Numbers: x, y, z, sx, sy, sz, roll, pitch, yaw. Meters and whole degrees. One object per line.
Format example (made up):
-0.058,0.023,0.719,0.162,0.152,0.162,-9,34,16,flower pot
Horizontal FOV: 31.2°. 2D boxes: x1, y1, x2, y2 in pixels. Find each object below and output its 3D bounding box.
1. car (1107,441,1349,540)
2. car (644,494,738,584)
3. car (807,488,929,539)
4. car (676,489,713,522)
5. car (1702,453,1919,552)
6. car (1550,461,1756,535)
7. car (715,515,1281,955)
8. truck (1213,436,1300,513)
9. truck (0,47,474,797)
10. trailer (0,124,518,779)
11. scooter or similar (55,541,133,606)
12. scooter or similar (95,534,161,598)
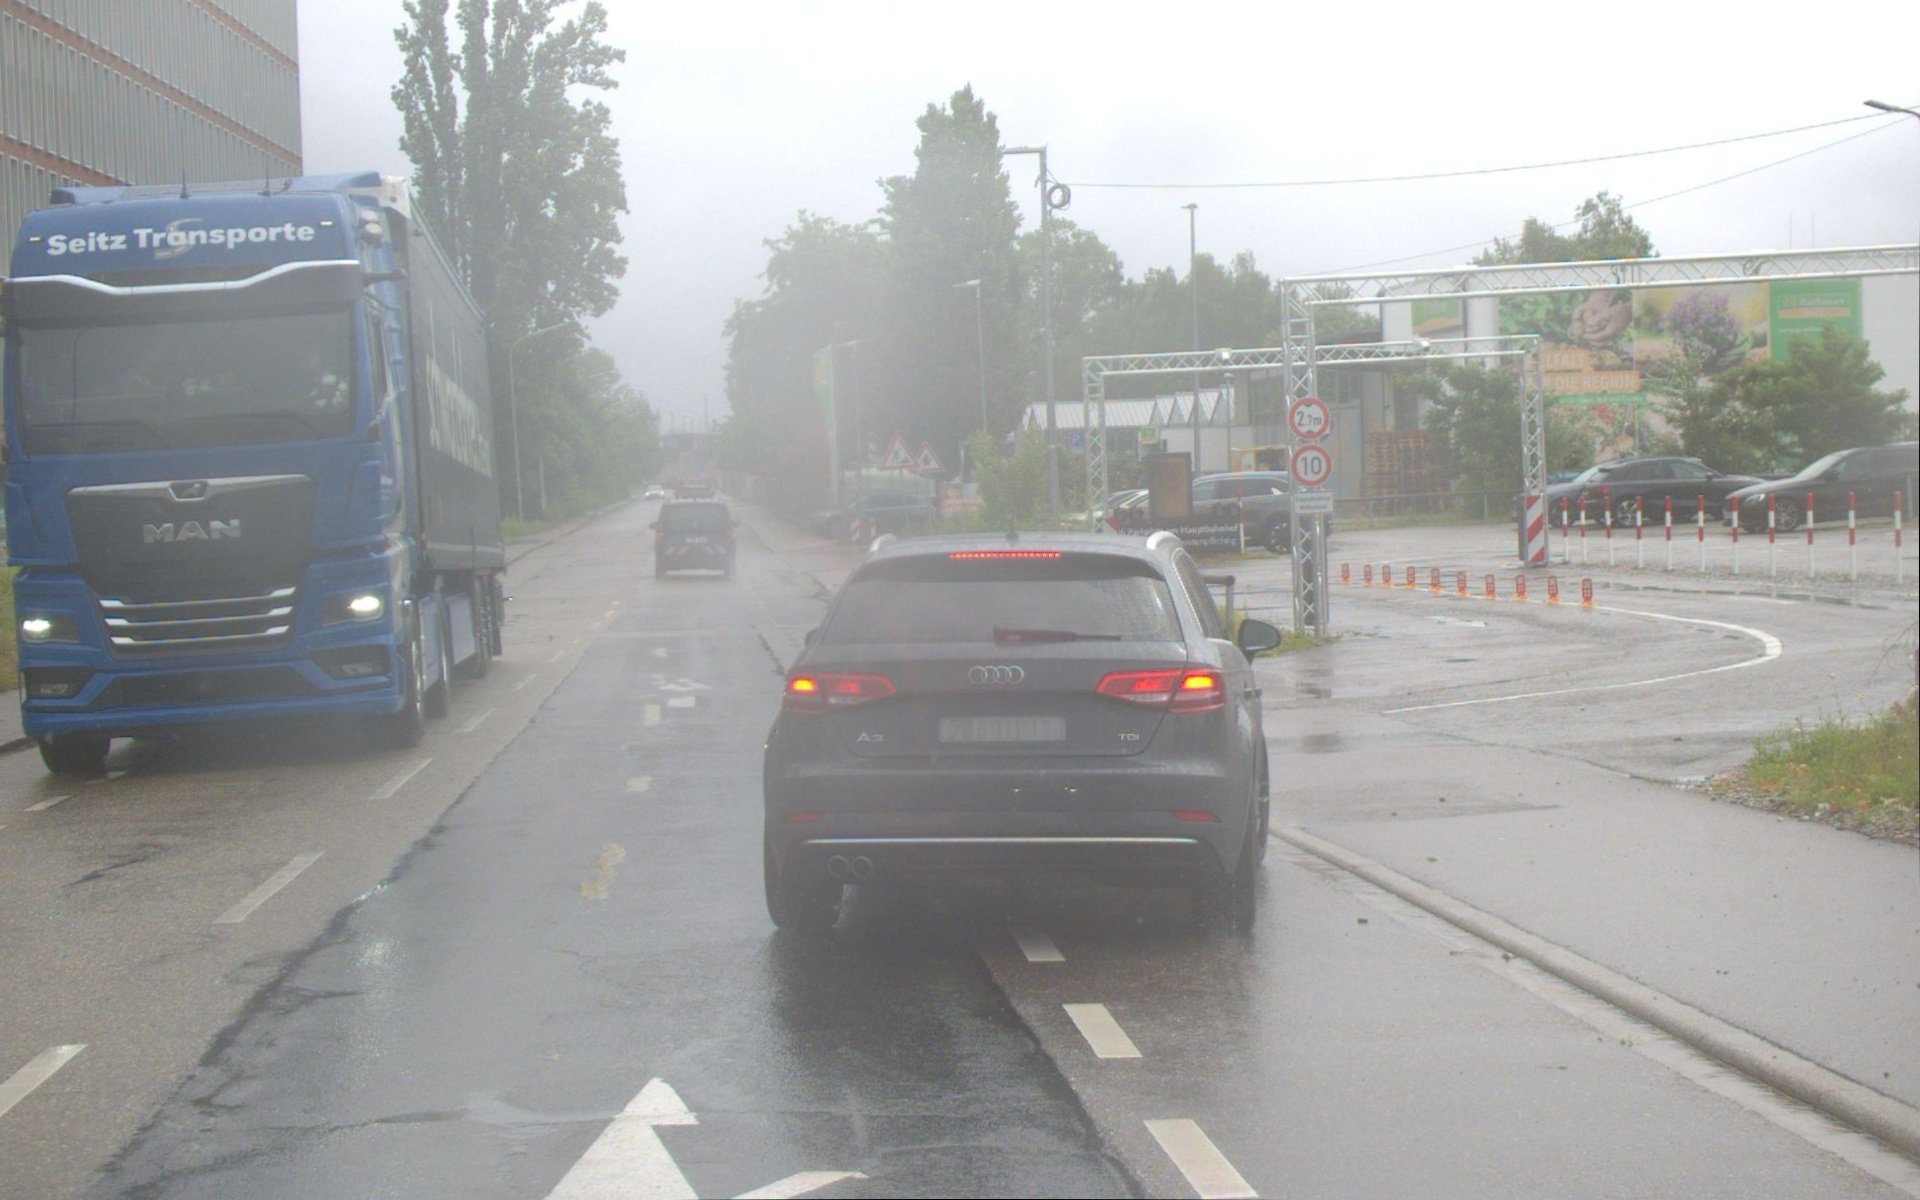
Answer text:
5.392,-2.201,69.696,4.681,1.729,2.128,-3,1,1,car
-6.137,-1.401,78.270,1.993,1.903,4.202,-3,2,-5,car
-3.175,-2.982,118.495,4.136,1.563,1.765,-2,1,-1,car
-14.144,-5.007,183.201,1.730,1.681,3.898,-2,1,-2,car
16.200,-1.789,63.037,4.618,1.710,2.020,-1,0,-10,car
15.093,-2.216,75.007,3.986,1.480,2.000,-1,0,-3,car
0.235,0.408,13.755,1.895,1.451,4.227,-1,2,3,car
10.970,-4.659,127.623,2.301,2.650,7.417,-3,2,-1,truck
-5.381,-1.198,24.707,3.293,4.637,6.034,-2,2,-6,truck
-6.050,-1.258,31.851,3.293,4.637,13.736,-2,2,-6,trailer
-16.608,-0.516,65.941,1.316,1.173,0.467,-3,2,2,scooter or similar
-16.618,-0.680,68.678,0.467,1.226,1.205,-1,2,38,scooter or similar
